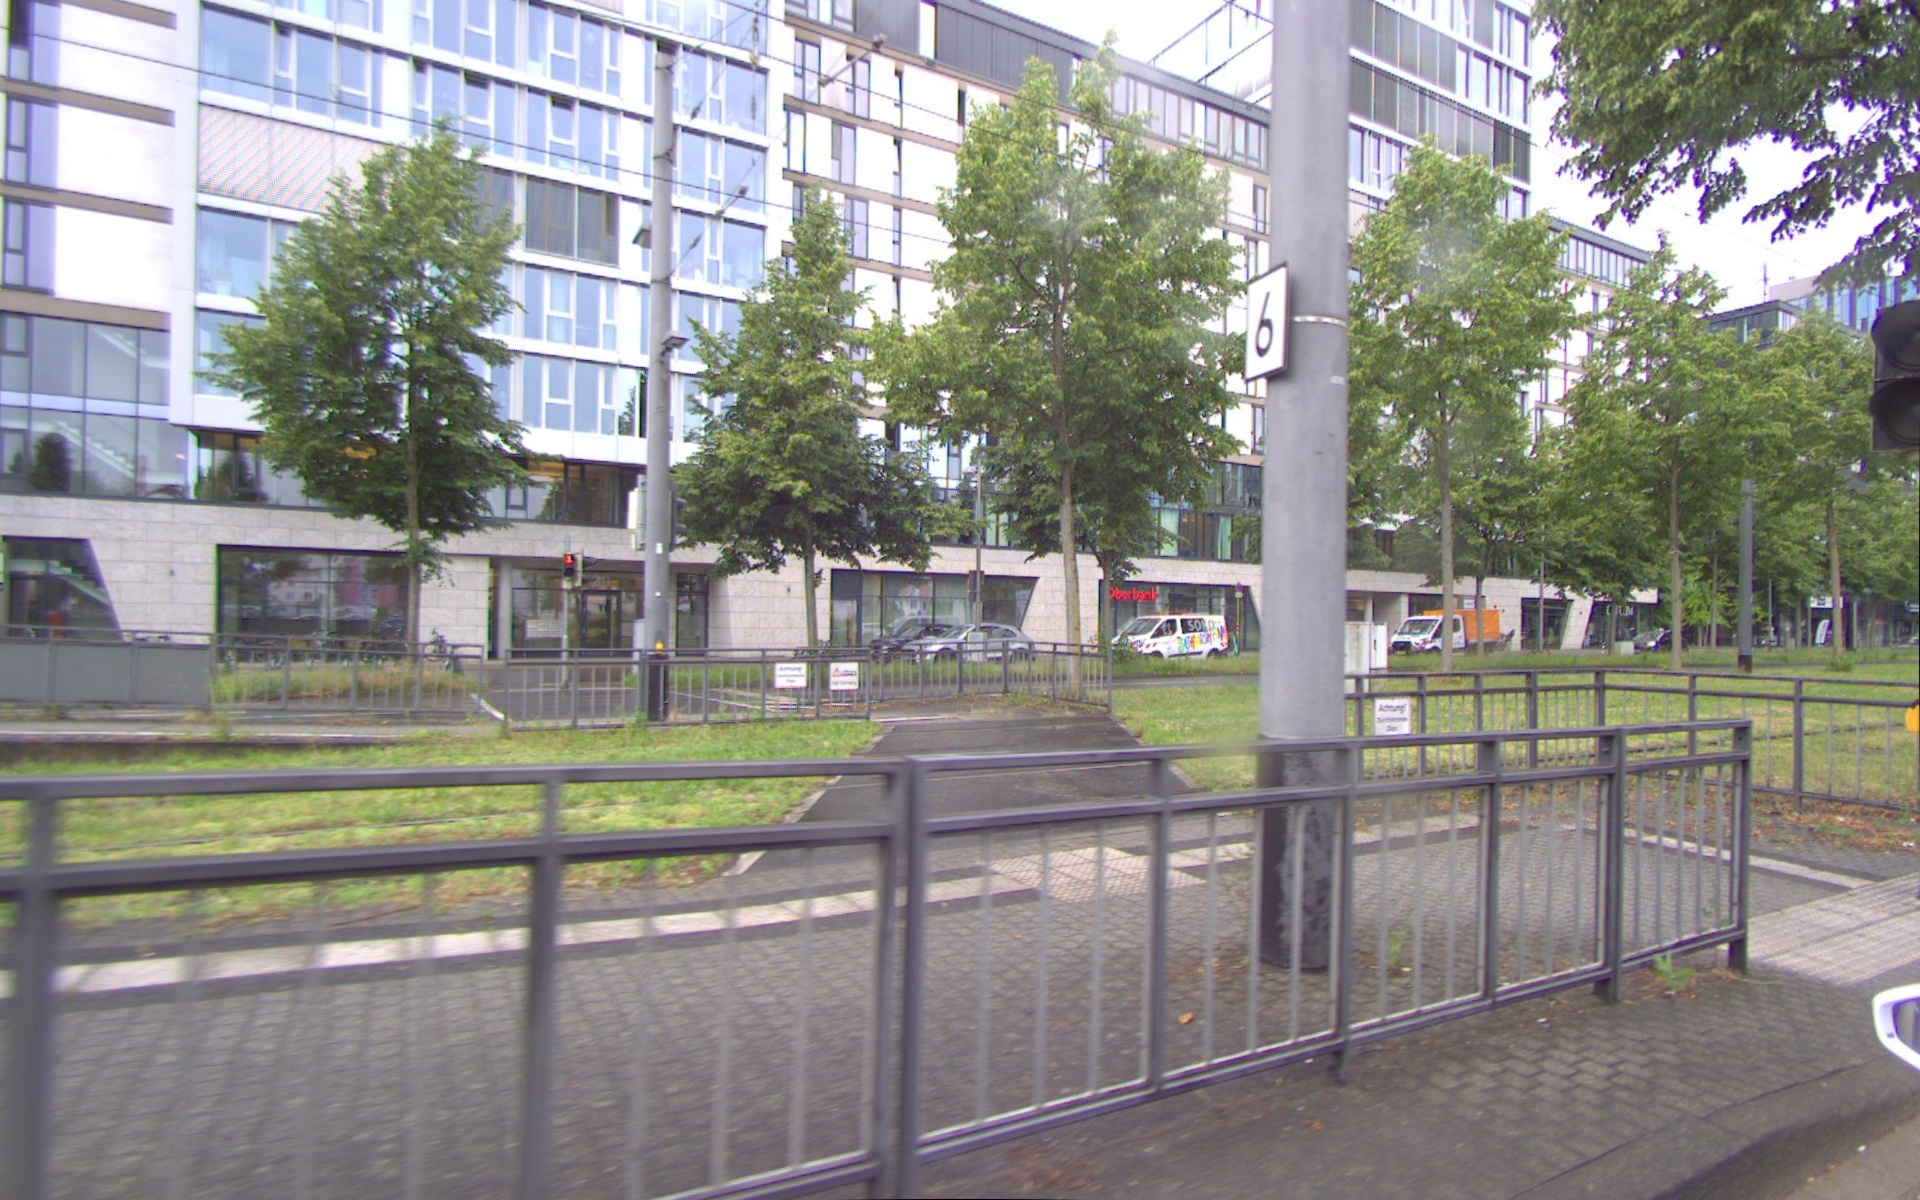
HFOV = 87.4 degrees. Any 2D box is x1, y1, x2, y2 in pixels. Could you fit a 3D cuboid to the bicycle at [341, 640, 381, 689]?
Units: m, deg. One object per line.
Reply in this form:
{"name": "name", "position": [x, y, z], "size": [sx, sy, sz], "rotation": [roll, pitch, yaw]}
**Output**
{"name": "bicycle", "position": [-14.153, 1.499, 23.765], "size": [0.687, 1.048, 1.971], "rotation": [1, -1, -28]}

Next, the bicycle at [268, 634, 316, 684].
{"name": "bicycle", "position": [-15.503, 1.352, 23.349], "size": [0.687, 1.048, 1.971], "rotation": [2, -1, -28]}

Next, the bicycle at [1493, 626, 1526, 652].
{"name": "bicycle", "position": [34.505, 2.427, 63.063], "size": [0.673, 1.559, 1.695], "rotation": [1, 0, -30]}

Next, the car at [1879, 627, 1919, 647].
{"name": "car", "position": [67.811, 2.626, 71.820], "size": [3.953, 1.397, 1.984], "rotation": [1, -1, -30]}

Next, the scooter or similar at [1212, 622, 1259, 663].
{"name": "scooter or similar", "position": [13.216, 2.014, 48.204], "size": [0.875, 1.849, 2.112], "rotation": [1, 0, -33]}

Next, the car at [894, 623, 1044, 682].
{"name": "car", "position": [0.306, 1.645, 32.417], "size": [4.411, 1.735, 2.134], "rotation": [1, -1, -30]}

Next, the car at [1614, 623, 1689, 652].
{"name": "car", "position": [36.872, 1.966, 53.570], "size": [3.942, 1.484, 1.846], "rotation": [1, -1, -31]}

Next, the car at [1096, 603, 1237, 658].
{"name": "car", "position": [7.619, 1.101, 36.888], "size": [5.104, 1.876, 1.984], "rotation": [1, -1, -31]}

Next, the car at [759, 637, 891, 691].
{"name": "car", "position": [-4.696, 2.185, 35.008], "size": [4.143, 1.716, 1.984], "rotation": [1, -1, -30]}

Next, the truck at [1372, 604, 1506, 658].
{"name": "truck", "position": [21.854, 1.396, 45.764], "size": [6.234, 2.322, 2.415], "rotation": [1, -1, -30]}

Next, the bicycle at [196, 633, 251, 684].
{"name": "bicycle", "position": [-16.677, 1.300, 22.787], "size": [0.687, 1.048, 1.971], "rotation": [1, -1, -28]}

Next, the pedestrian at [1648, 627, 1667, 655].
{"name": "pedestrian", "position": [50.519, 2.986, 72.768], "size": [0.843, 2.007, 0.793], "rotation": [1, 0, -22]}

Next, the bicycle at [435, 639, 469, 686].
{"name": "bicycle", "position": [-12.512, 1.522, 24.722], "size": [0.687, 1.048, 1.971], "rotation": [1, -1, -28]}

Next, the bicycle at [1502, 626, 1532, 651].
{"name": "bicycle", "position": [35.411, 2.446, 63.899], "size": [0.600, 1.559, 1.560], "rotation": [1, 0, -30]}

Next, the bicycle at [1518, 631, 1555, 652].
{"name": "bicycle", "position": [26.163, 1.883, 45.580], "size": [1.734, 0.958, 0.597], "rotation": [1, -1, -27]}

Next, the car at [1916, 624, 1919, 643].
{"name": "car", "position": [73.311, 2.518, 74.882], "size": [3.953, 1.397, 1.984], "rotation": [1, -1, -30]}
